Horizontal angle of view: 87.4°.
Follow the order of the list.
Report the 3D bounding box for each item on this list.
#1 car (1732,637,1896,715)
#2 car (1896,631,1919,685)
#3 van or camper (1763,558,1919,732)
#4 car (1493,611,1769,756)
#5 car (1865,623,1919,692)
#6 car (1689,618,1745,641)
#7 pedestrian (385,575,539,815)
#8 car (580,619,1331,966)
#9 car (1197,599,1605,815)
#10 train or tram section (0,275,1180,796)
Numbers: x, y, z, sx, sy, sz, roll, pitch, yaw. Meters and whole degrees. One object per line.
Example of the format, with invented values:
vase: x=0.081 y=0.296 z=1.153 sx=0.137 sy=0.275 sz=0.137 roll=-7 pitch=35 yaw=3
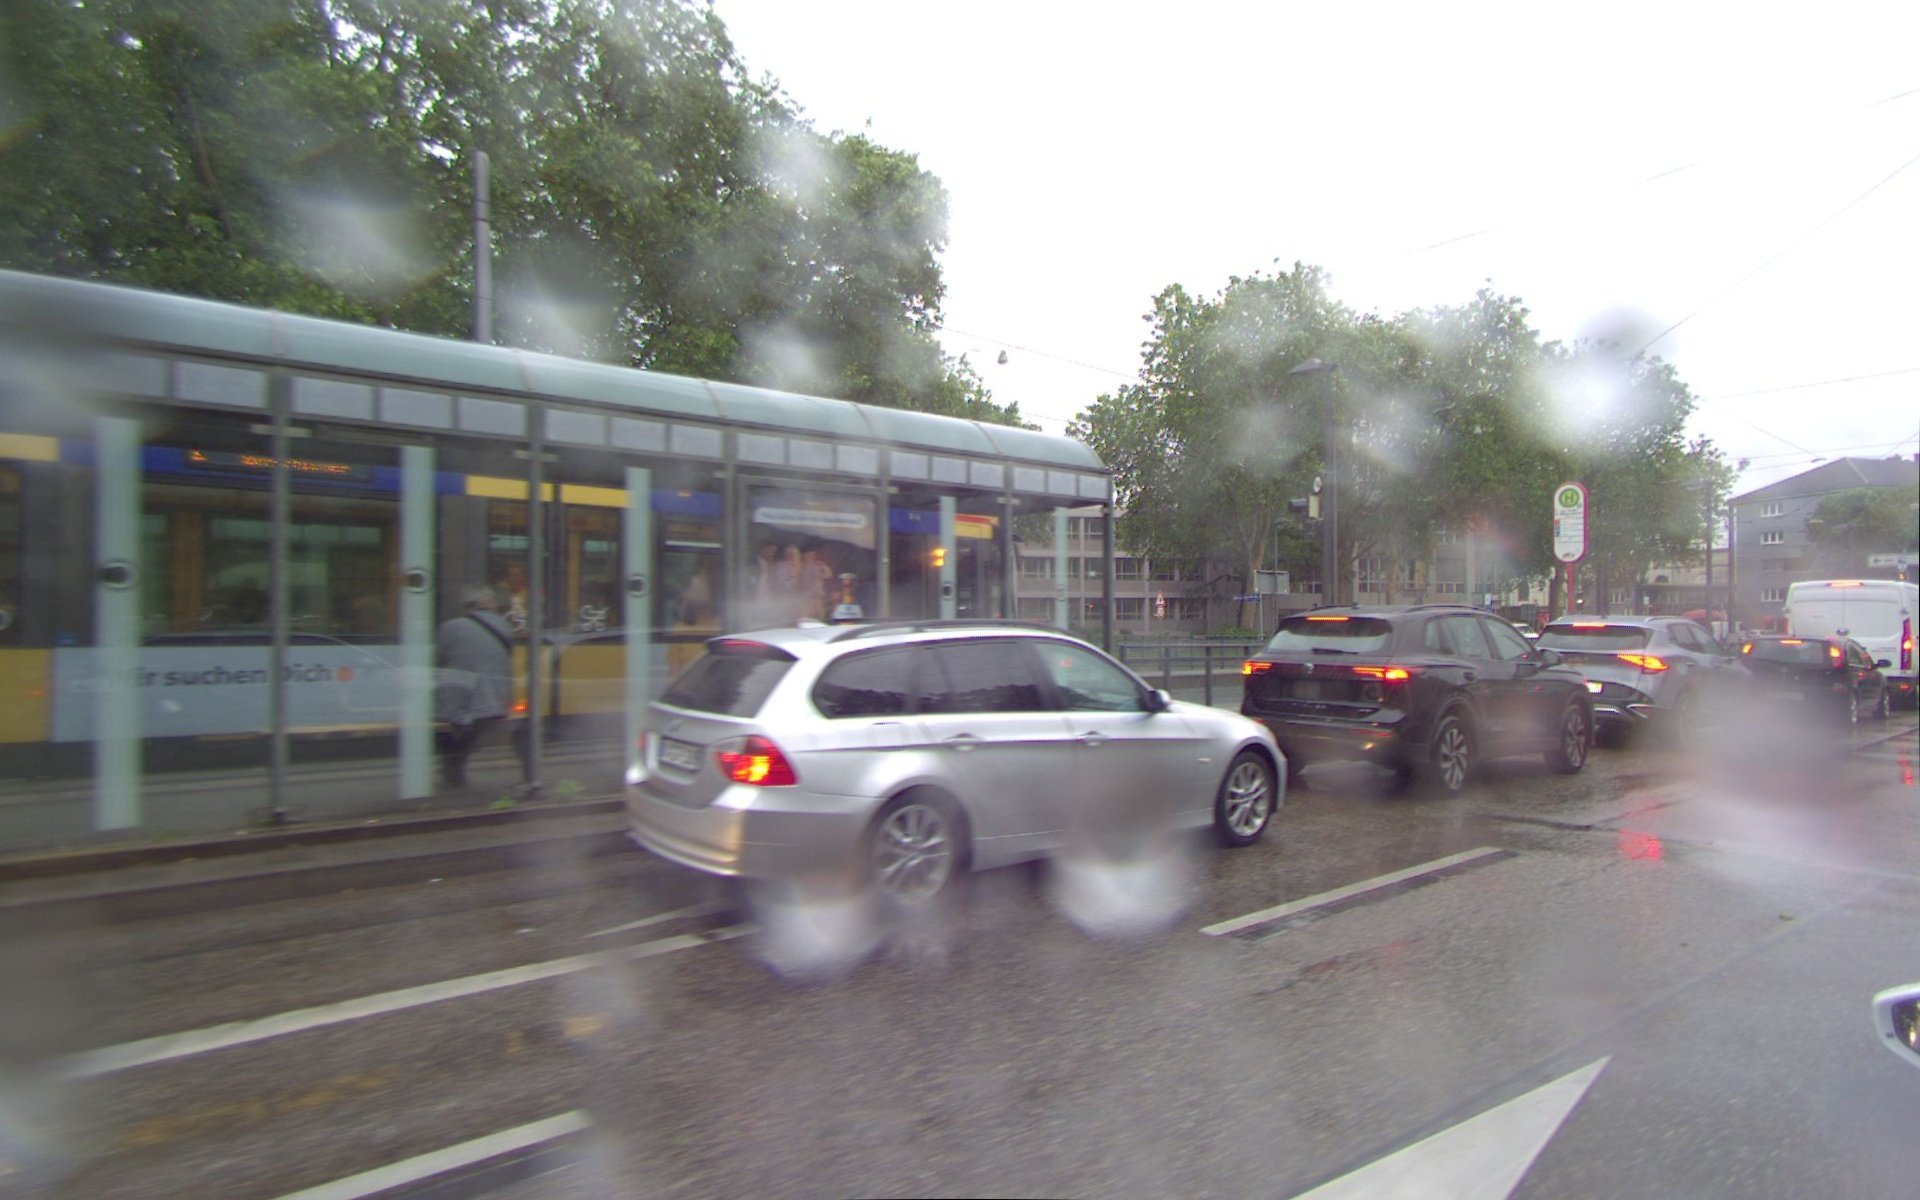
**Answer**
car: x=14.727 y=1.247 z=17.259 sx=4.053 sy=1.132 sz=1.451 roll=2 pitch=0 yaw=-40
car: x=29.127 y=1.726 z=29.460 sx=3.964 sy=1.504 sz=1.830 roll=2 pitch=0 yaw=-38
van or camper: x=18.956 y=0.908 z=21.145 sx=5.804 sy=3.183 sz=2.140 roll=2 pitch=-1 yaw=-40
car: x=9.170 y=1.024 z=13.592 sx=4.416 sy=1.645 sz=1.899 roll=2 pitch=-2 yaw=-39
car: x=24.372 y=1.433 z=25.386 sx=3.803 sy=1.650 sz=1.632 roll=2 pitch=-1 yaw=-38
car: x=76.123 y=2.953 z=101.066 sx=4.707 sy=2.228 sz=1.994 roll=0 pitch=1 yaw=-15
pedestrian: x=-3.230 y=0.577 z=6.515 sx=0.744 sy=1.437 sz=0.627 roll=2 pitch=1 yaw=-40
car: x=0.245 y=0.860 z=6.347 sx=4.569 sy=1.413 sz=1.977 roll=2 pitch=-2 yaw=-40
car: x=4.432 y=0.874 z=9.808 sx=4.285 sy=1.642 sz=1.977 roll=2 pitch=-1 yaw=-40
train or tram section: x=-3.855 y=-0.350 z=11.067 sx=15.376 sy=3.458 sz=3.511 roll=2 pitch=1 yaw=-40
